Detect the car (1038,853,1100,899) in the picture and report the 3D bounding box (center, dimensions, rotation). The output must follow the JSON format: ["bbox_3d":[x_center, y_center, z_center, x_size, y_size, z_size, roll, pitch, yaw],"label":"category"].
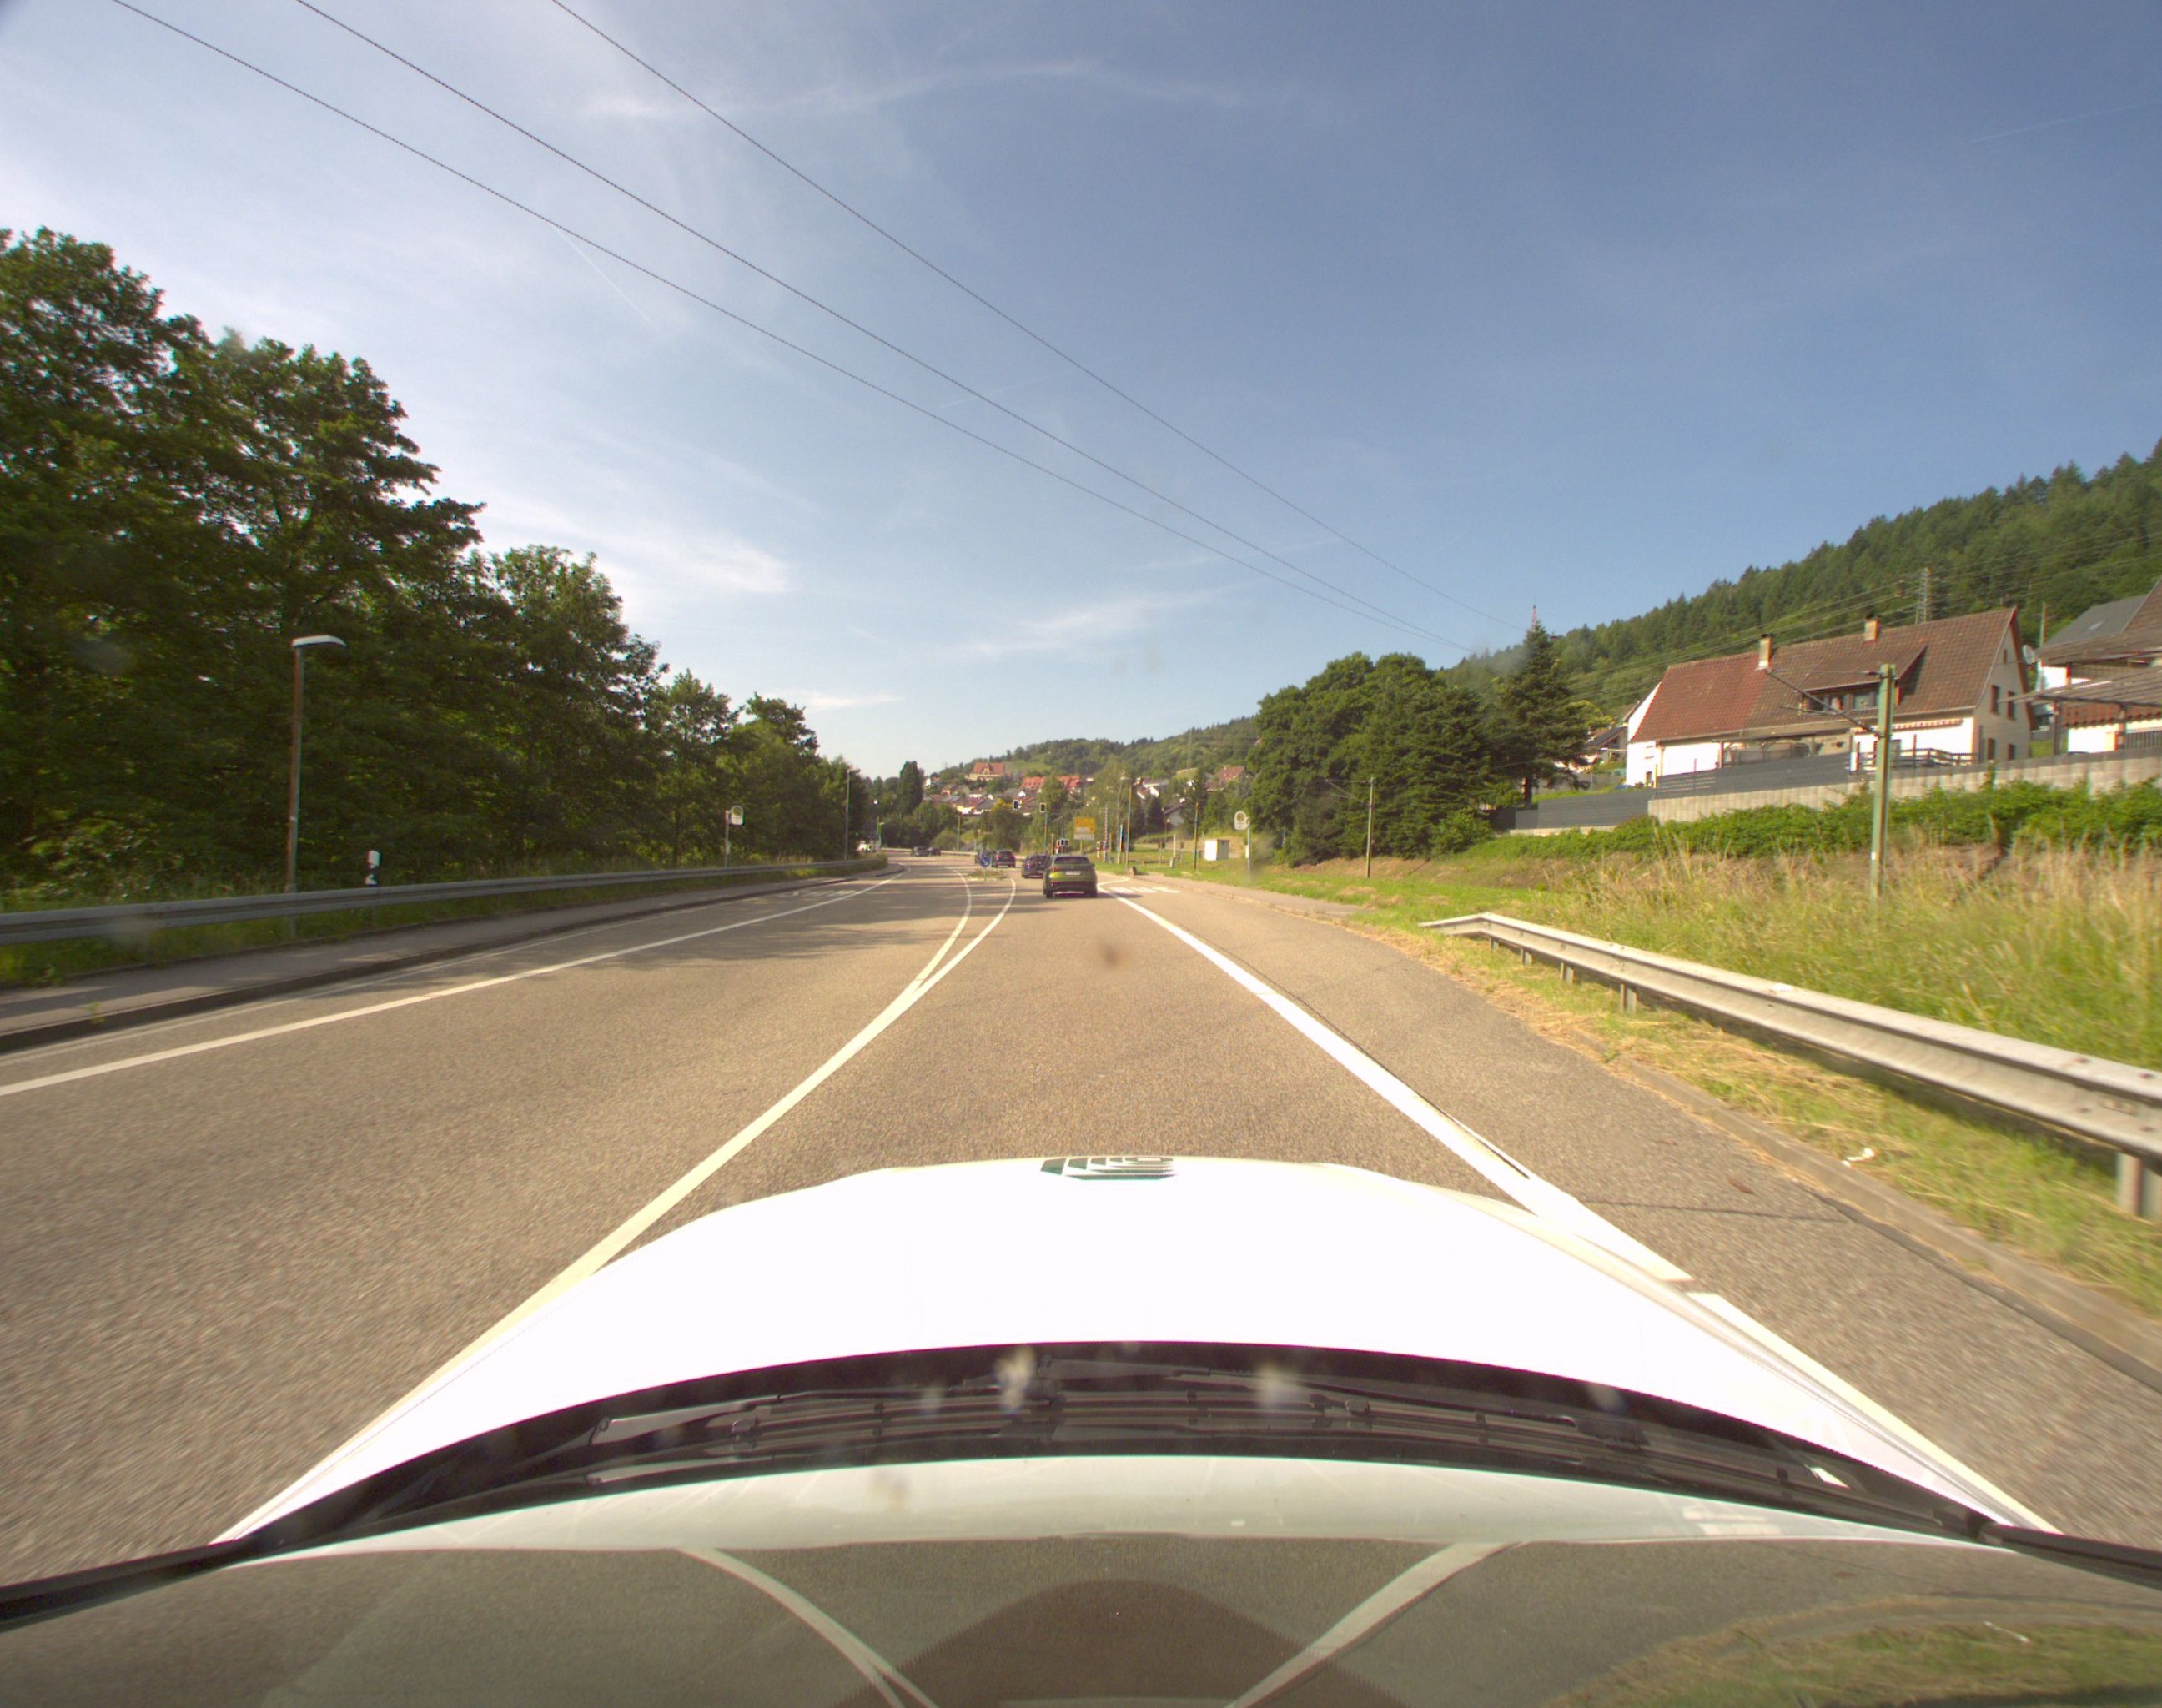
[{"bbox_3d":[-0.498,0.721,28.541,1.713,1.455,3.990,0,0,-8],"label":"car"}]

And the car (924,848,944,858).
[{"bbox_3d":[-25.123,-0.172,139.042,2.006,1.745,3.961,1,0,-31],"label":"car"}]

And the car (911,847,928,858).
[{"bbox_3d":[-26.533,-0.243,133.701,2.070,1.811,3.973,0,1,-20],"label":"car"}]

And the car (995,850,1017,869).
[{"bbox_3d":[-6.989,0.489,75.539,1.879,1.686,3.988,0,0,-8],"label":"car"}]

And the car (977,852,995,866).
[{"bbox_3d":[-10.694,0.580,91.931,1.849,1.527,3.650,0,0,-9],"label":"car"}]

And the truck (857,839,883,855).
[{"bbox_3d":[-41.412,-1.387,160.079,2.733,3.084,6.040,3,-1,-37],"label":"truck"}]

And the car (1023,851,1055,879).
[{"bbox_3d":[-2.483,0.631,47.593,1.665,1.559,3.991,0,0,-6],"label":"car"}]
